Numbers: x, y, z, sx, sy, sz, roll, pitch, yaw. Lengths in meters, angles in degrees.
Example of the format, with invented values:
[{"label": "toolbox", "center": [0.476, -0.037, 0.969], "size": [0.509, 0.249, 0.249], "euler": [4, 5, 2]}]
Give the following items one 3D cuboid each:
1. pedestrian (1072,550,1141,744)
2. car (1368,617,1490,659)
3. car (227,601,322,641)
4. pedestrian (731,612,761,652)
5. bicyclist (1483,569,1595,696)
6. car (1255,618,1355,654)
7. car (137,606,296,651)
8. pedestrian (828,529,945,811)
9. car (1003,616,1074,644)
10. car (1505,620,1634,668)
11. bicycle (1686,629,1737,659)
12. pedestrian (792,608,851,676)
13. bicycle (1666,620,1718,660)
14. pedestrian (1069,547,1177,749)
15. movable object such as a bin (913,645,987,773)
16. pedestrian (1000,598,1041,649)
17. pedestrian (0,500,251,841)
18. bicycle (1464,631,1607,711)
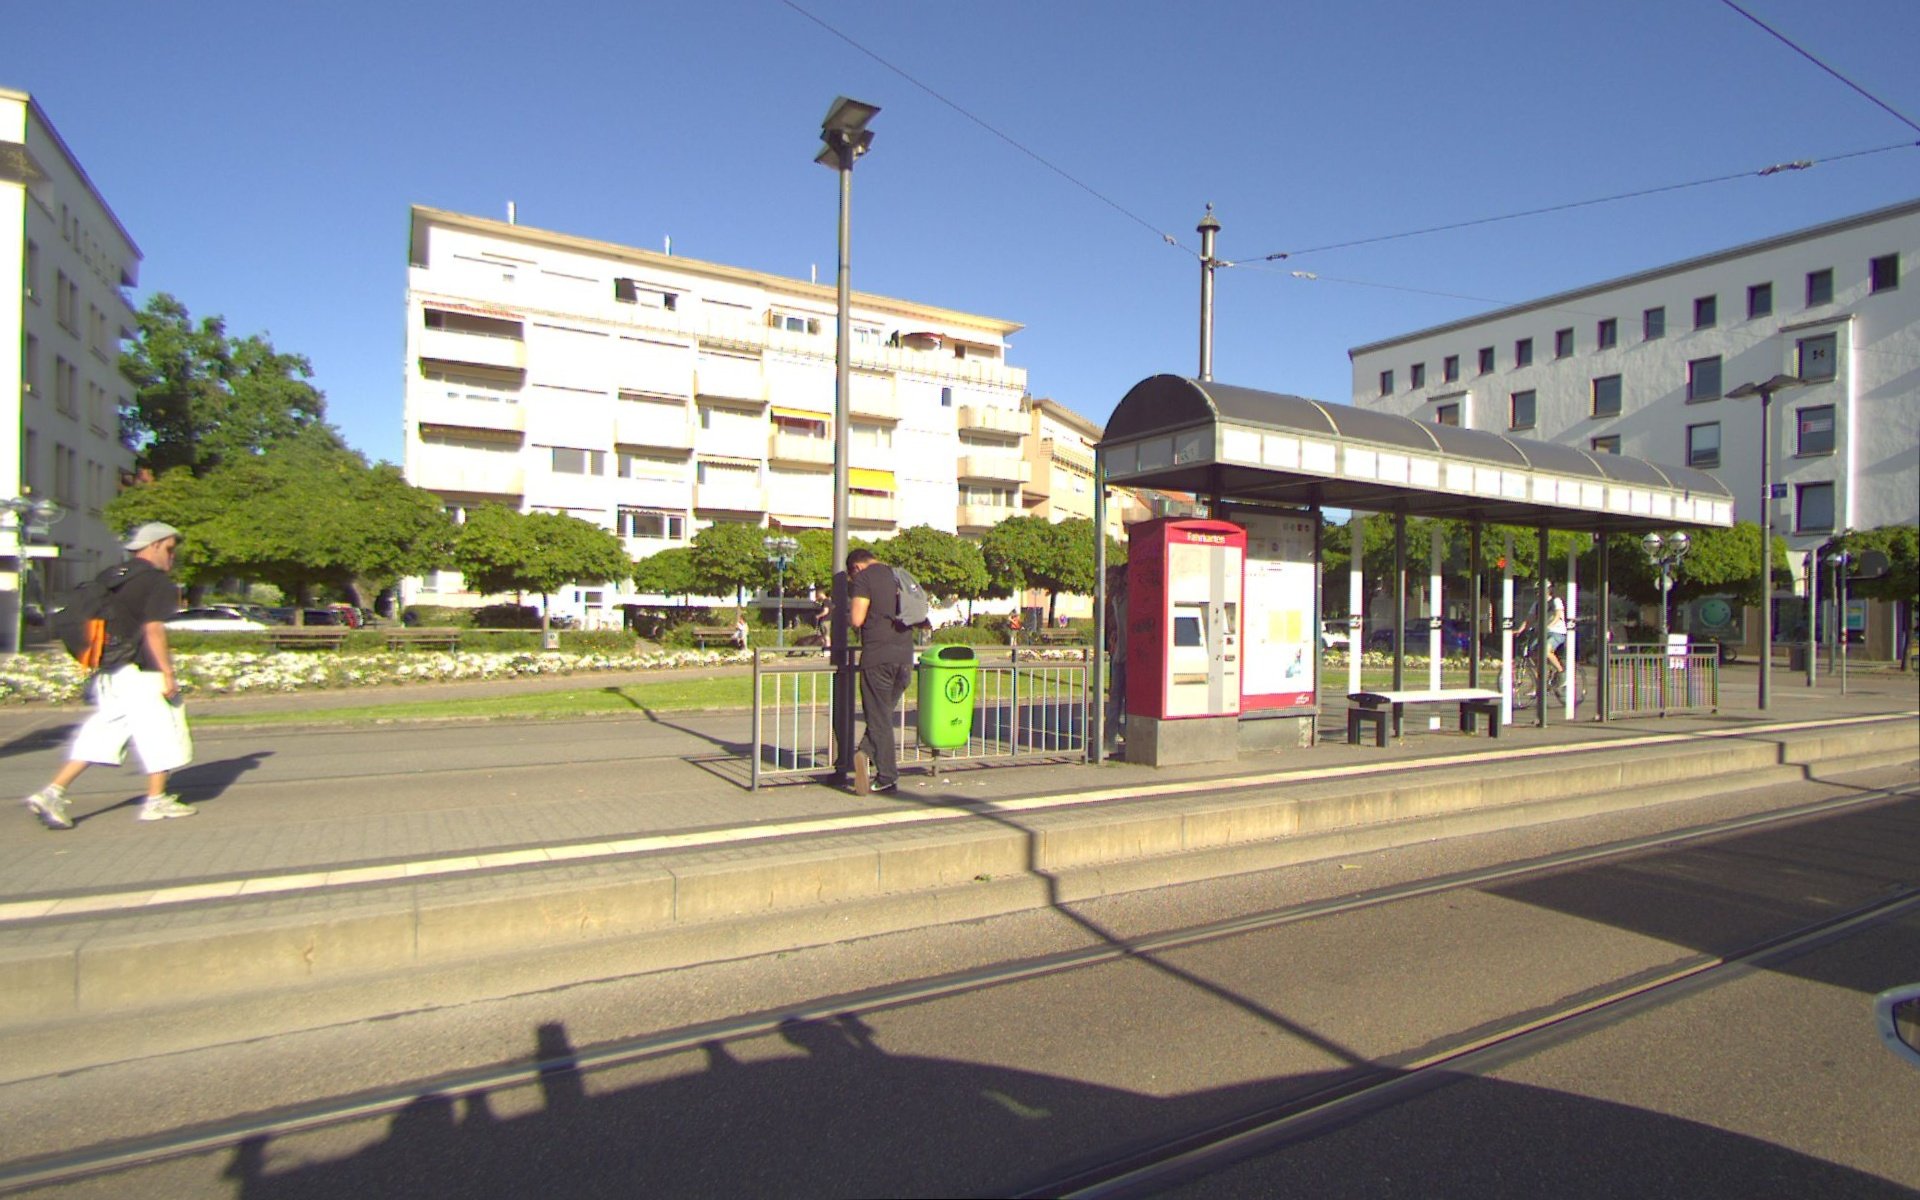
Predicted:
[{"label": "pedestrian", "center": [1.462, 0.466, 10.073], "size": [0.519, 1.883, 0.426], "euler": [1, -3, -27]}, {"label": "car", "center": [20.653, 1.641, 44.405], "size": [1.978, 1.684, 4.581], "euler": [1, -1, -31]}, {"label": "car", "center": [-26.256, 0.808, 38.566], "size": [2.899, 1.506, 1.407], "euler": [1, -1, -30]}, {"label": "pedestrian", "center": [-7.528, 1.110, 35.261], "size": [0.672, 1.378, 1.042], "euler": [1, -1, -34]}, {"label": "bicyclist", "center": [8.683, 0.483, 15.094], "size": [1.078, 1.817, 1.003], "euler": [1, -1, -18]}, {"label": "car", "center": [16.933, 1.739, 49.526], "size": [1.835, 1.628, 4.581], "euler": [1, -1, -31]}, {"label": "car", "center": [-22.641, 0.860, 30.785], "size": [3.672, 1.318, 1.984], "euler": [1, -1, -30]}, {"label": "pedestrian", "center": [-0.489, 0.447, 6.597], "size": [0.599, 1.740, 0.546], "euler": [1, -3, -27]}, {"label": "car", "center": [4.038, 1.534, 51.552], "size": [3.271, 1.372, 1.638], "euler": [1, -1, -29]}, {"label": "car", "center": [23.830, 1.675, 39.400], "size": [1.804, 1.728, 3.968], "euler": [1, -1, -30]}, {"label": "bicycle", "center": [30.977, 1.810, 41.405], "size": [2.586, 1.206, 0.615], "euler": [1, -1, -27]}, {"label": "pedestrian", "center": [-3.806, 1.138, 27.593], "size": [1.156, 1.811, 1.079], "euler": [0, -1, 32]}, {"label": "bicycle", "center": [30.652, 1.659, 42.050], "size": [2.585, 1.628, 0.616], "euler": [1, -1, -26]}, {"label": "pedestrian", "center": [1.518, 0.444, 9.385], "size": [0.760, 1.797, 0.613], "euler": [1, -3, -28]}, {"label": "movable object such as a bin", "center": [-0.073, 0.761, 7.170], "size": [0.411, 0.871, 0.335], "euler": [1, -1, -27]}, {"label": "pedestrian", "center": [2.471, 0.950, 41.143], "size": [1.219, 2.040, 1.214], "euler": [1, -1, -30]}, {"label": "pedestrian", "center": [-4.791, 0.370, 5.569], "size": [0.976, 1.702, 0.975], "euler": [0, -2, 7]}, {"label": "bicycle", "center": [8.622, 1.041, 15.047], "size": [2.004, 1.141, 0.711], "euler": [1, -1, -18]}]
